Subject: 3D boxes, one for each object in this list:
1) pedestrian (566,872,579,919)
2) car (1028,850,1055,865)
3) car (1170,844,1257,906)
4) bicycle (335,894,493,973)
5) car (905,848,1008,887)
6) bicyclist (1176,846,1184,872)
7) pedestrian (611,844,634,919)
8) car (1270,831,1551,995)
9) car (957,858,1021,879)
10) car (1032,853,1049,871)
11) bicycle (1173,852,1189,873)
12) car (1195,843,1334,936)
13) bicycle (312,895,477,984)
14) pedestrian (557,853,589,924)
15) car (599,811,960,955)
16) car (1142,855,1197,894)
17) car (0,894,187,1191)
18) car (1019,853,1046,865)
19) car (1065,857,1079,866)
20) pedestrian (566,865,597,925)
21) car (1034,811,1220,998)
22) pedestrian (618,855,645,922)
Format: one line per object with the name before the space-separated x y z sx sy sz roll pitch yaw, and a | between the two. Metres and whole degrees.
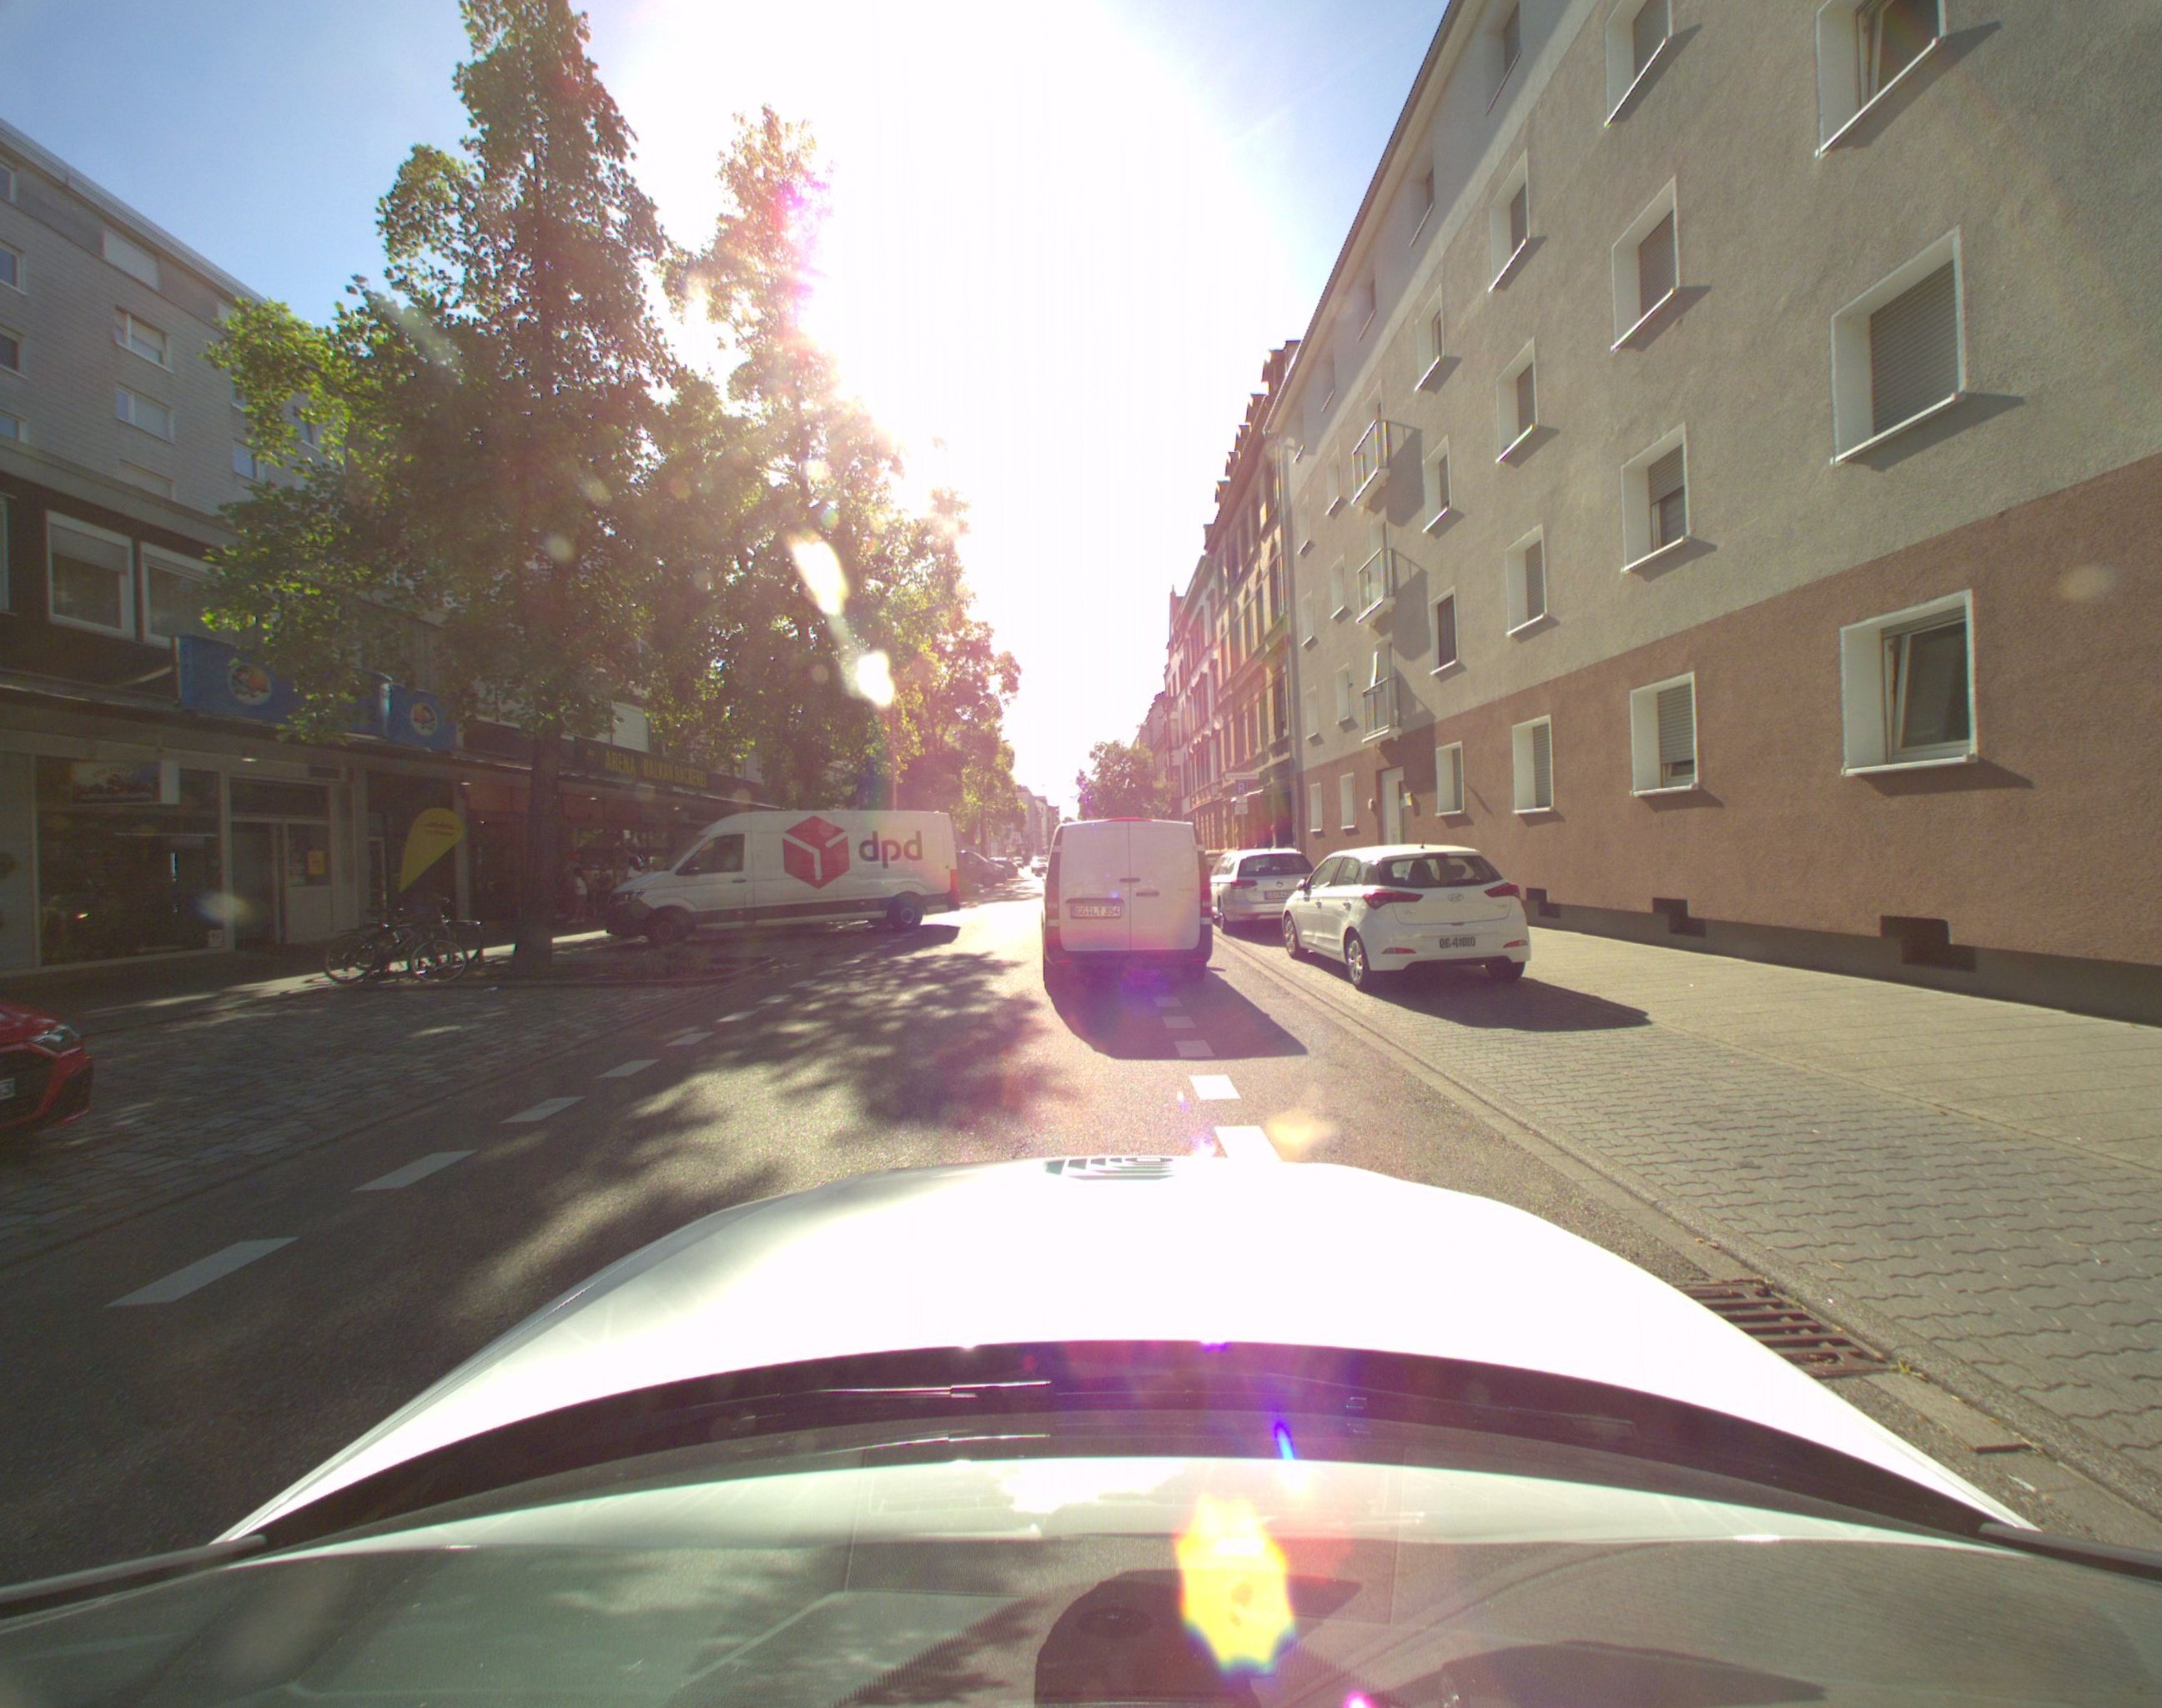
pedestrian | -13.659 1.119 21.890 0.212 1.244 0.215 -1 -1 1
car | -5.999 0.529 124.735 3.974 2.013 2.000 -2 0 0
car | 3.493 0.531 22.023 1.704 1.480 3.710 -2 0 0
bicycle | -9.723 1.146 11.902 1.860 1.106 0.587 0 0 2
car | -6.698 0.712 44.183 5.276 1.974 2.015 -1 0 -1
bicyclist | 5.804 0.283 47.793 0.359 1.477 0.531 -1 0 2
pedestrian | -12.010 0.713 21.351 0.389 1.934 0.361 -1 -1 1
car | 3.661 0.573 9.848 1.726 1.486 3.793 -4 0 -1
car | -6.542 1.016 58.355 4.289 1.460 1.763 0 0 1
car | -3.963 0.772 79.020 1.527 1.596 3.995 -2 0 -4
bicycle | 5.851 0.530 47.678 0.535 1.148 2.123 -9 -1 0
car | 3.396 0.590 15.910 1.779 1.460 4.519 -3 0 2
bicycle | -9.179 1.130 10.922 1.712 1.117 0.623 0 0 2
pedestrian | -13.046 0.888 20.911 0.483 1.782 0.427 -3 0 -3
car | -5.968 0.415 16.742 6.630 2.474 1.979 -2 0 -34
car | 3.544 0.788 33.223 1.733 1.451 3.998 -2 0 -1
car | -7.407 1.000 4.103 3.904 1.450 1.710 -1 0 1
car | -7.216 0.791 122.055 3.976 1.640 1.999 -2 0 -2
car | -1.136 0.886 97.514 1.605 0.967 3.998 -2 0 -1
pedestrian | -12.586 1.029 20.534 0.467 1.473 0.420 -2 0 -3
car | 0.425 0.513 10.936 1.915 1.914 4.885 -1 0 -2
pedestrian | -11.585 0.871 20.988 0.389 1.705 0.502 -1 -1 1
